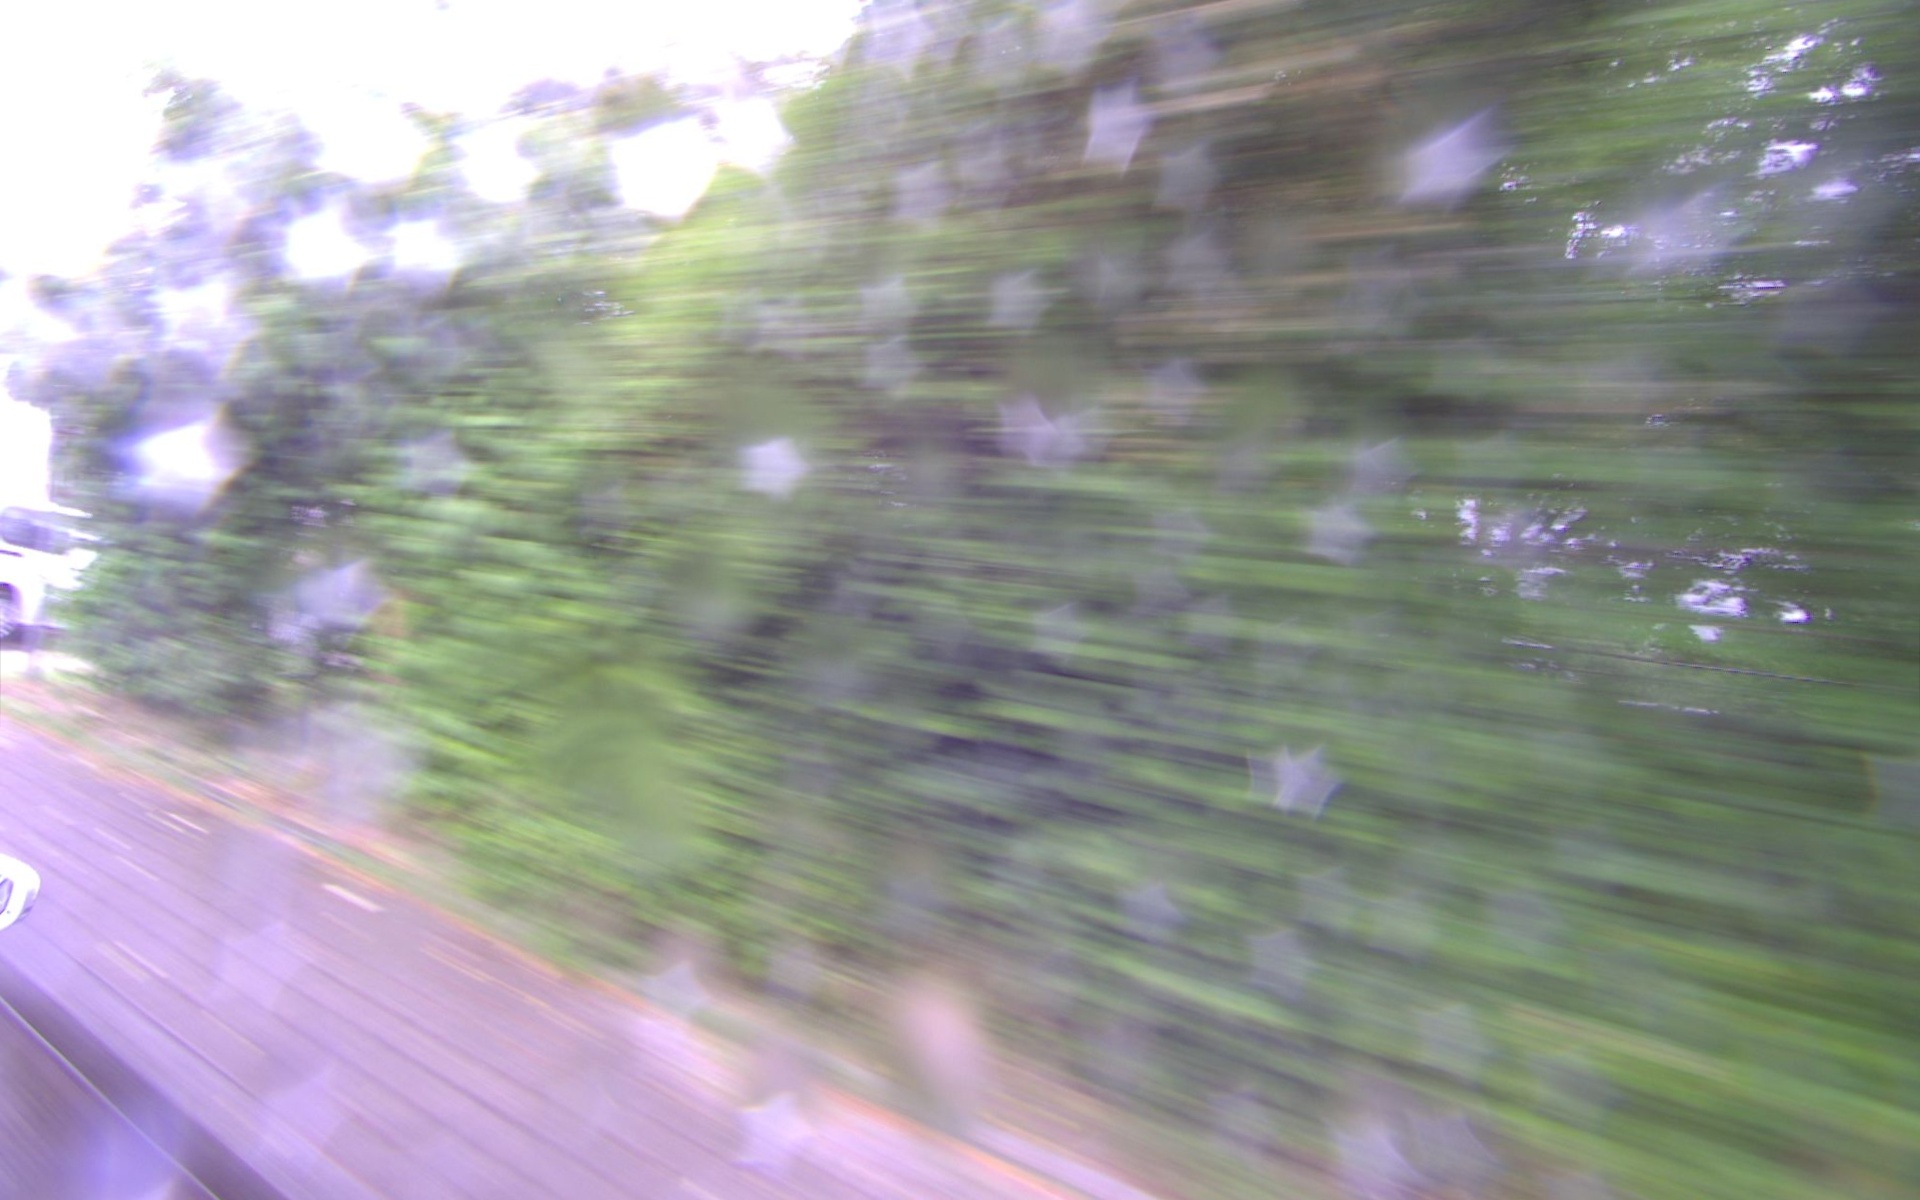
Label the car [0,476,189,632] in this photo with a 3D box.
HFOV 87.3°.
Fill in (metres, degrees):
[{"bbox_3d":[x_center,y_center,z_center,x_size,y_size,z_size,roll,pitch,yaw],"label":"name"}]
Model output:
[{"bbox_3d":[-12.359,-0.654,13.055,1.871,1.828,3.995,8,-1,-9],"label":"car"}]
